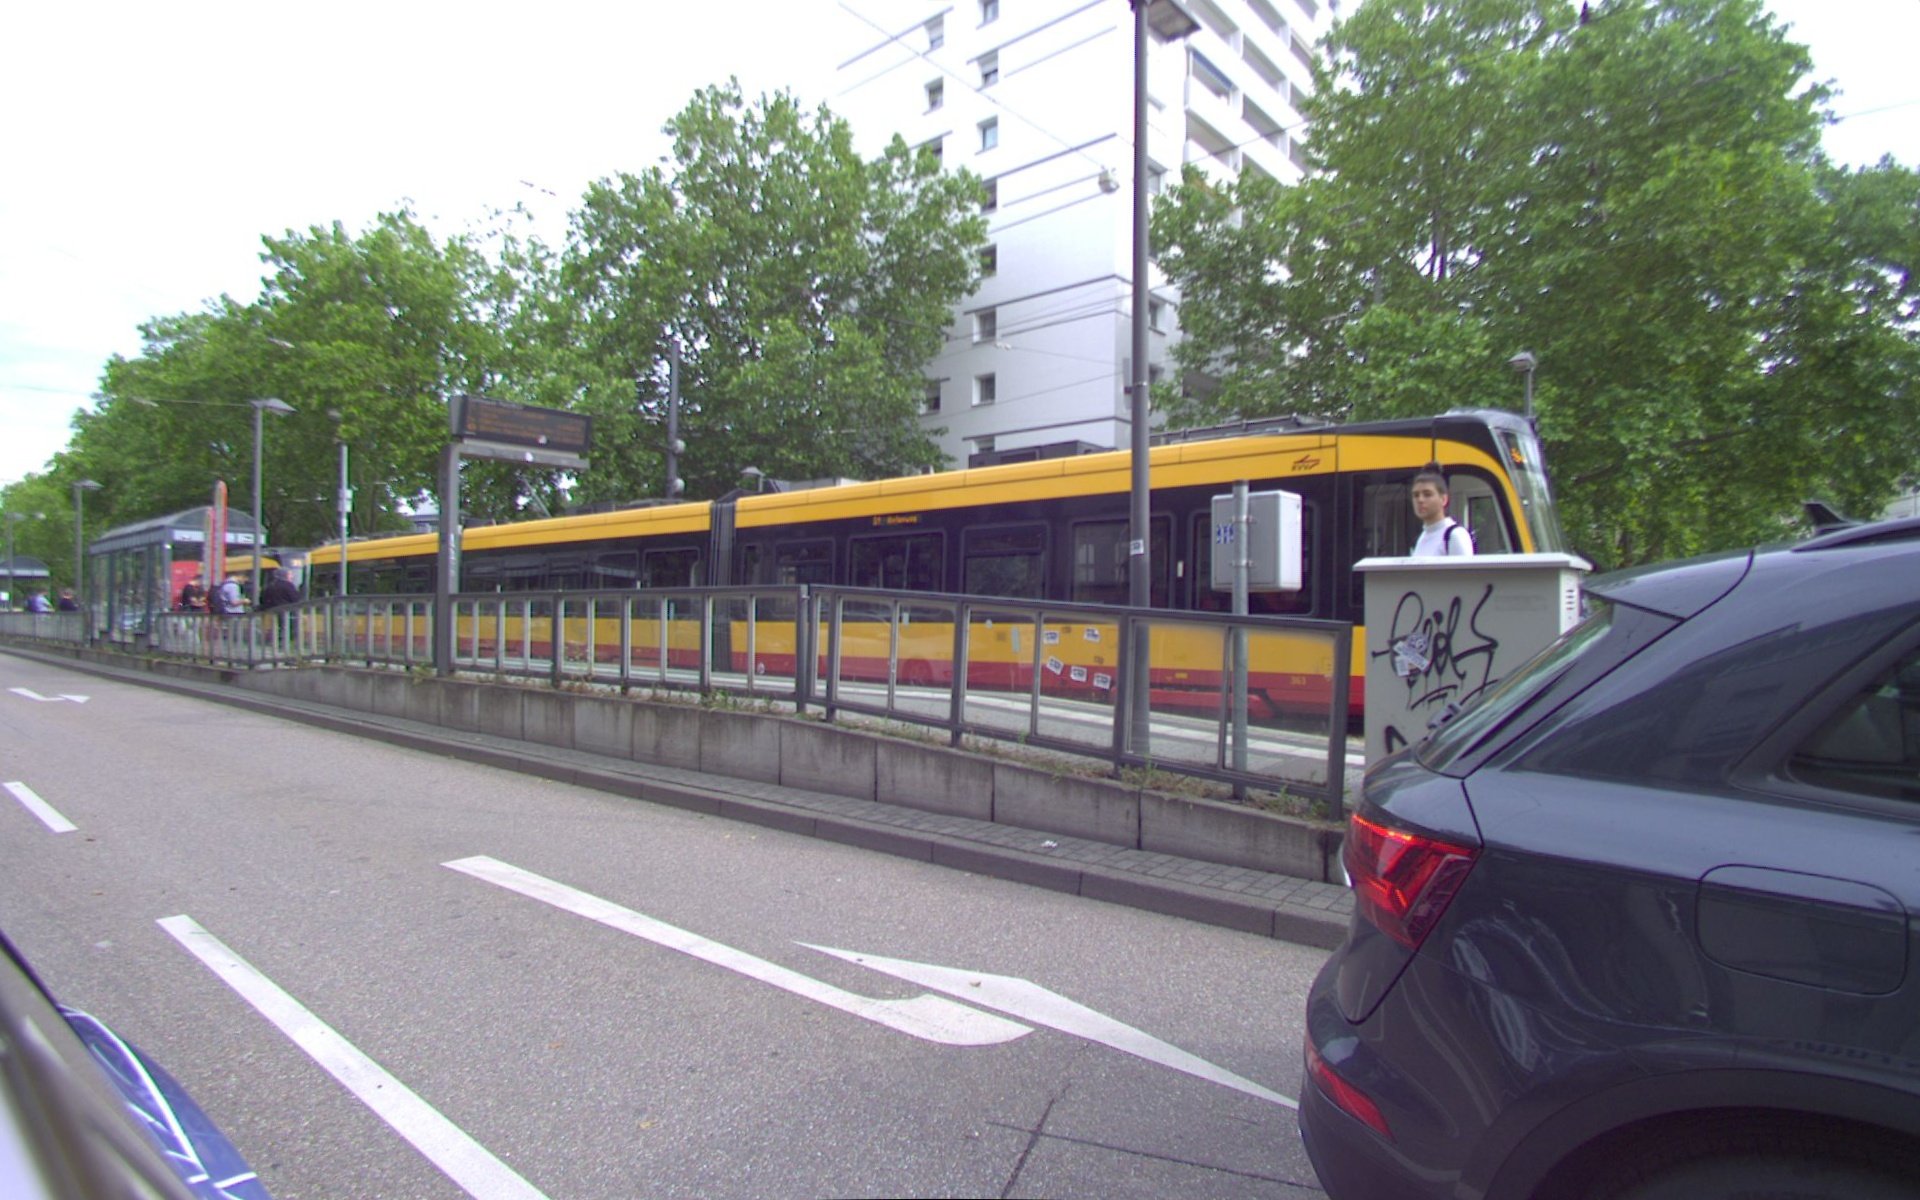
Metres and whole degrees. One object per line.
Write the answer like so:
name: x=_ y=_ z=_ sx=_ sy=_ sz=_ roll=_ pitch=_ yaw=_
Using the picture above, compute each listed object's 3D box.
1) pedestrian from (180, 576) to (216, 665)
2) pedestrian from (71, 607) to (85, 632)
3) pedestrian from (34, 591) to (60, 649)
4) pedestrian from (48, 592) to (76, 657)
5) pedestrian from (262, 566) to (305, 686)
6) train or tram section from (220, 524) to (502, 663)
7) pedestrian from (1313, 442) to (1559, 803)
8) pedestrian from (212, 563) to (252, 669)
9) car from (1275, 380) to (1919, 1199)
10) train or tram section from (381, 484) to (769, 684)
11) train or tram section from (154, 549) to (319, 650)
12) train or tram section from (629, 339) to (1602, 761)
pedestrian: x=-15.927 y=0.424 z=21.166 sx=0.467 sy=1.818 sz=0.607 roll=-1 pitch=0 yaw=-24
pedestrian: x=-69.388 y=1.533 z=79.633 sx=0.756 sy=2.029 sz=0.710 roll=-1 pitch=-1 yaw=41
pedestrian: x=-29.040 y=0.629 z=32.188 sx=0.523 sy=1.818 sz=0.607 roll=-1 pitch=0 yaw=-35
pedestrian: x=-25.571 y=0.698 z=28.826 sx=0.523 sy=1.818 sz=0.607 roll=-1 pitch=0 yaw=-35
pedestrian: x=-10.531 y=0.394 z=15.746 sx=0.513 sy=1.818 sz=0.606 roll=-1 pitch=0 yaw=-37
train or tram section: x=-20.724 y=-0.113 z=34.047 sx=16.241 sy=3.781 sz=3.295 roll=-1 pitch=0 yaw=41
pedestrian: x=2.379 y=0.110 z=5.175 sx=0.969 sy=1.683 sz=0.718 roll=-1 pitch=0 yaw=12
pedestrian: x=-12.753 y=0.272 z=17.721 sx=0.605 sy=1.818 sz=0.469 roll=-1 pitch=0 yaw=45
car: x=2.688 y=0.544 z=0.976 sx=4.225 sy=1.649 sz=1.715 roll=-1 pitch=0 yaw=41
train or tram section: x=-9.887 y=-0.253 z=24.534 sx=12.543 sy=3.781 sz=3.295 roll=-1 pitch=0 yaw=41
train or tram section: x=-30.980 y=0.020 z=43.078 sx=11.039 sy=3.781 sz=3.295 roll=-1 pitch=0 yaw=41
train or tram section: x=0.543 y=-0.387 z=15.339 sx=15.196 sy=3.781 sz=3.295 roll=-1 pitch=0 yaw=41
